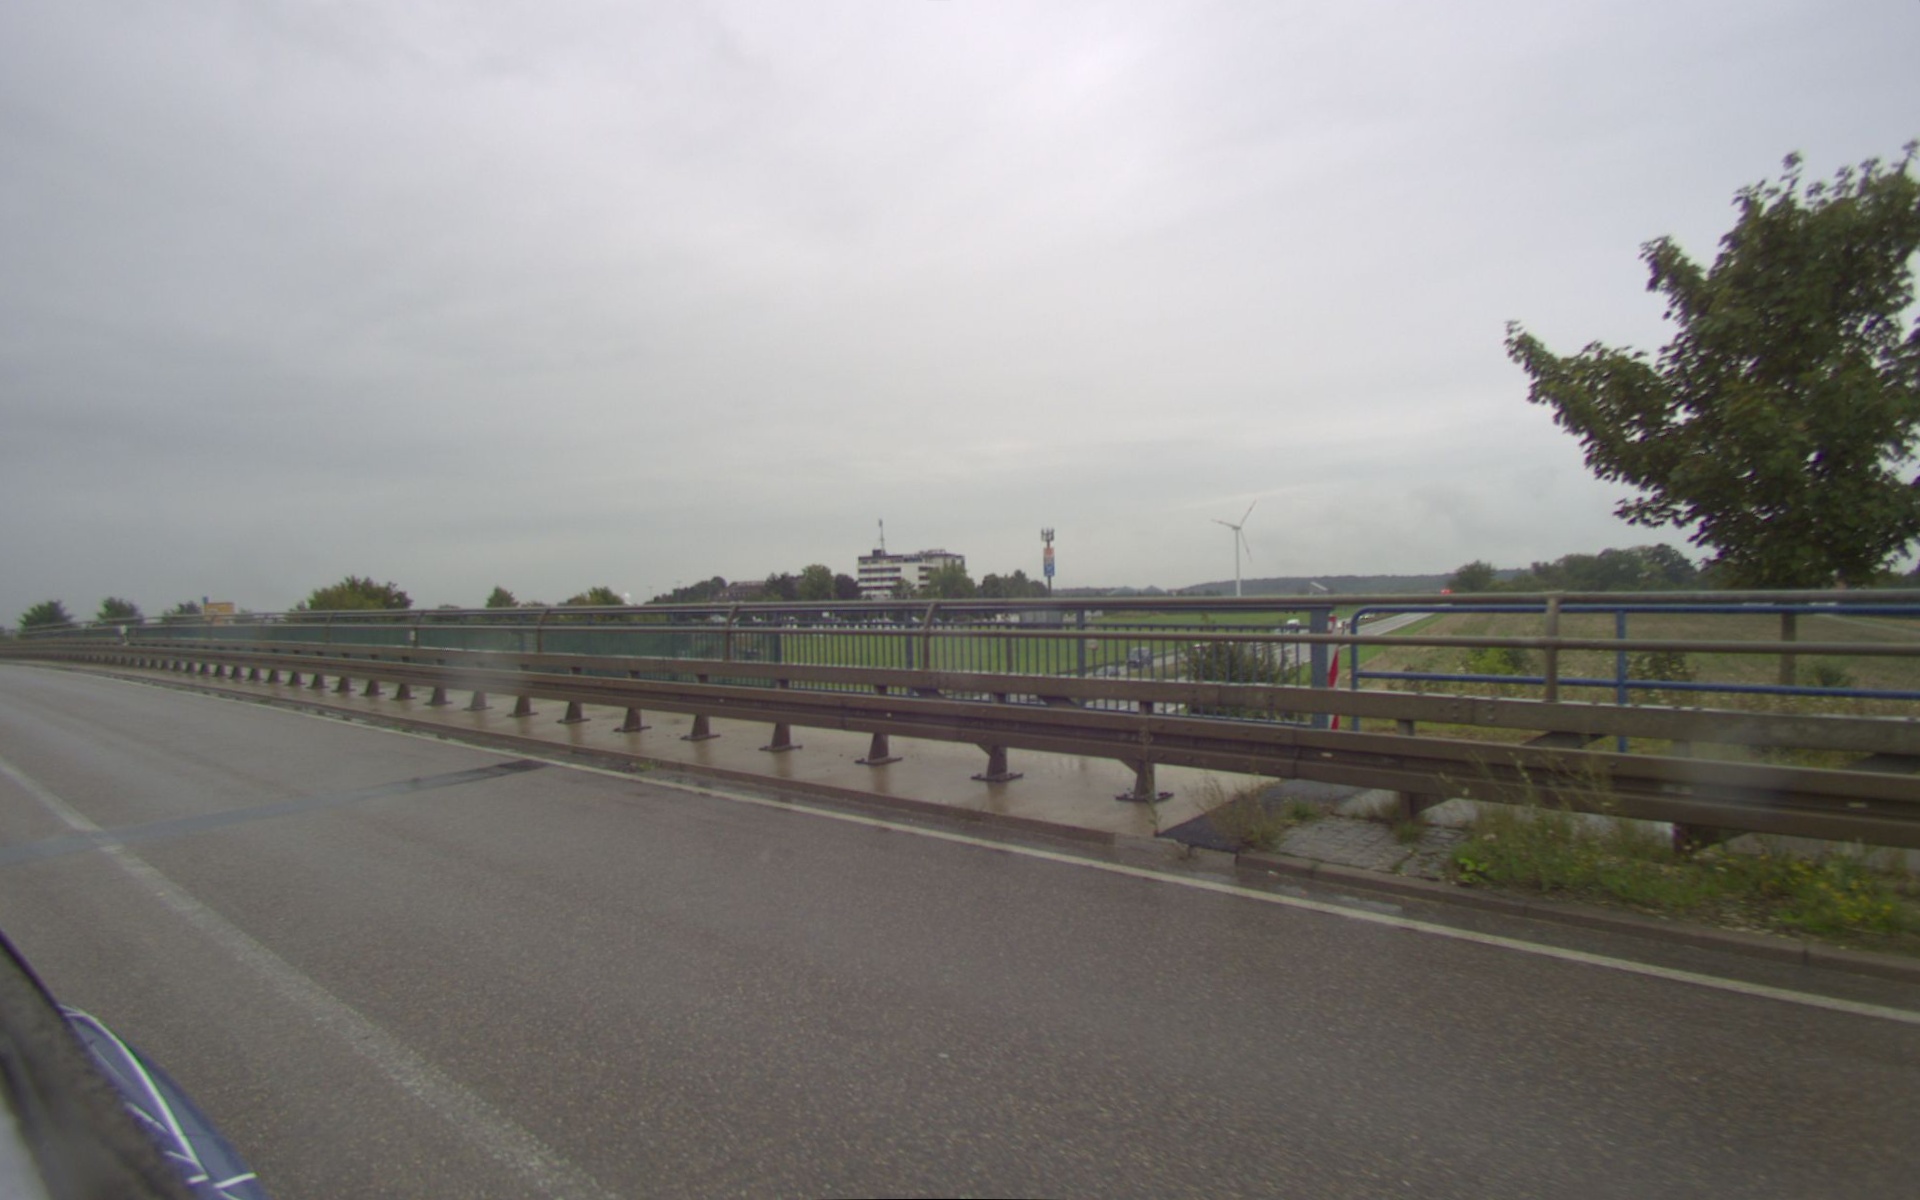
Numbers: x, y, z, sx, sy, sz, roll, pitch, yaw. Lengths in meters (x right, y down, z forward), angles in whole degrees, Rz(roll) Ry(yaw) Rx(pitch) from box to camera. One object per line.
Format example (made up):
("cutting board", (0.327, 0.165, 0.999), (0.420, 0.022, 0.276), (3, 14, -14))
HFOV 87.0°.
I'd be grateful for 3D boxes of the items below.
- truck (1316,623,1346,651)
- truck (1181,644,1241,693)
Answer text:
("truck", (59.048, 5.793, 161.022), (3.335, 3.975, 11.427), (-1, 0, 26))
("truck", (24.691, 6.566, 98.990), (3.335, 3.975, 11.427), (-1, 0, 26))
